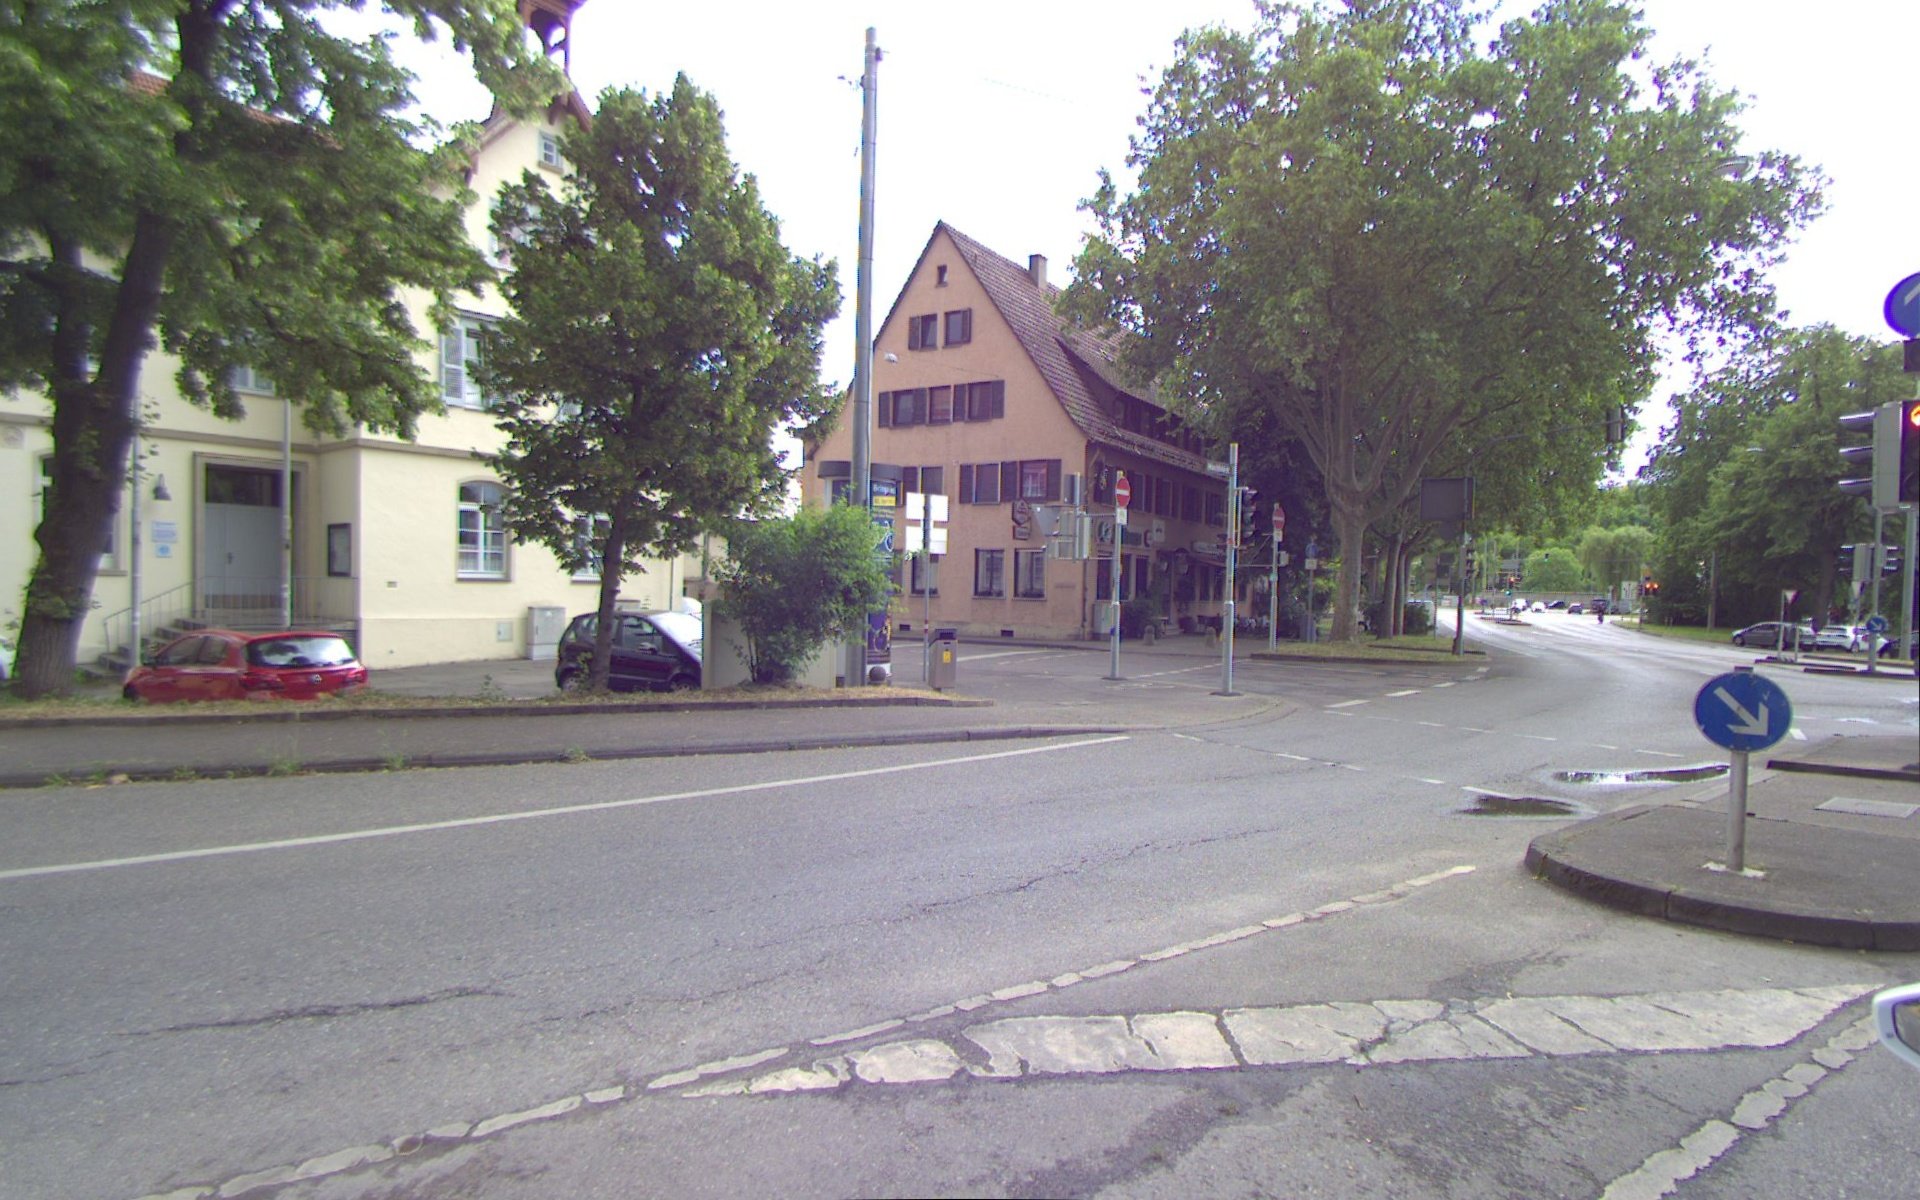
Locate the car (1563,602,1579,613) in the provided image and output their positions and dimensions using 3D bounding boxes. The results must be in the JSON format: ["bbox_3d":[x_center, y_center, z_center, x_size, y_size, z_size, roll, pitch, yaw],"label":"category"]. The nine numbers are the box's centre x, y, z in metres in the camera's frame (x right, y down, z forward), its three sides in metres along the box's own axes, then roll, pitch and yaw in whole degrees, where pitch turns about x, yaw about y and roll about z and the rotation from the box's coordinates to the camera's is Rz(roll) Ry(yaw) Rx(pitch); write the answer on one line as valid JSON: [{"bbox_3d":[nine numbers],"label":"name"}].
[{"bbox_3d":[97.095,1.146,159.611,1.963,1.617,3.994,2,0,28],"label":"car"}]

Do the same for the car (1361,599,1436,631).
[{"bbox_3d":[25.908,0.881,59.377,3.924,1.706,1.998,1,0,25],"label":"car"}]

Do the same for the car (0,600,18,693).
[{"bbox_3d":[-17.274,0.734,15.787,1.586,1.499,3.422,2,0,39],"label":"car"}]

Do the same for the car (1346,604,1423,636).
[{"bbox_3d":[24.192,1.131,57.287,3.924,1.706,1.998,1,0,25],"label":"car"}]

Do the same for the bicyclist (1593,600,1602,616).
[{"bbox_3d":[53.974,0.655,85.051,0.532,1.360,0.713,2,0,29],"label":"bicyclist"}]

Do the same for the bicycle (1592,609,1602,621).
[{"bbox_3d":[53.981,1.273,85.116,0.548,0.971,2.029,2,0,29],"label":"bicycle"}]

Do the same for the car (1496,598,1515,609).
[{"bbox_3d":[85.490,0.539,157.492,1.553,1.506,3.337,3,0,11],"label":"car"}]

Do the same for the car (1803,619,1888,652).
[{"bbox_3d":[47.685,1.906,54.102,3.696,1.662,1.859,2,0,-19],"label":"car"}]

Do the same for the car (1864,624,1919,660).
[{"bbox_3d":[39.769,1.759,41.476,1.746,1.370,3.326,2,0,-3],"label":"car"}]

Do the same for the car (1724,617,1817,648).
[{"bbox_3d":[44.037,1.746,54.653,1.592,1.485,3.778,2,0,-11],"label":"car"}]

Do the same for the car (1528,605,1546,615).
[{"bbox_3d":[90.023,1.547,156.620,1.469,1.436,3.028,3,0,11],"label":"car"}]

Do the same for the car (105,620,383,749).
[{"bbox_3d":[-9.721,1.046,13.610,3.652,1.401,1.659,2,0,29],"label":"car"}]

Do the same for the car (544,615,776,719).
[{"bbox_3d":[-5.017,1.038,16.781,3.507,1.459,1.645,2,0,26],"label":"car"}]
